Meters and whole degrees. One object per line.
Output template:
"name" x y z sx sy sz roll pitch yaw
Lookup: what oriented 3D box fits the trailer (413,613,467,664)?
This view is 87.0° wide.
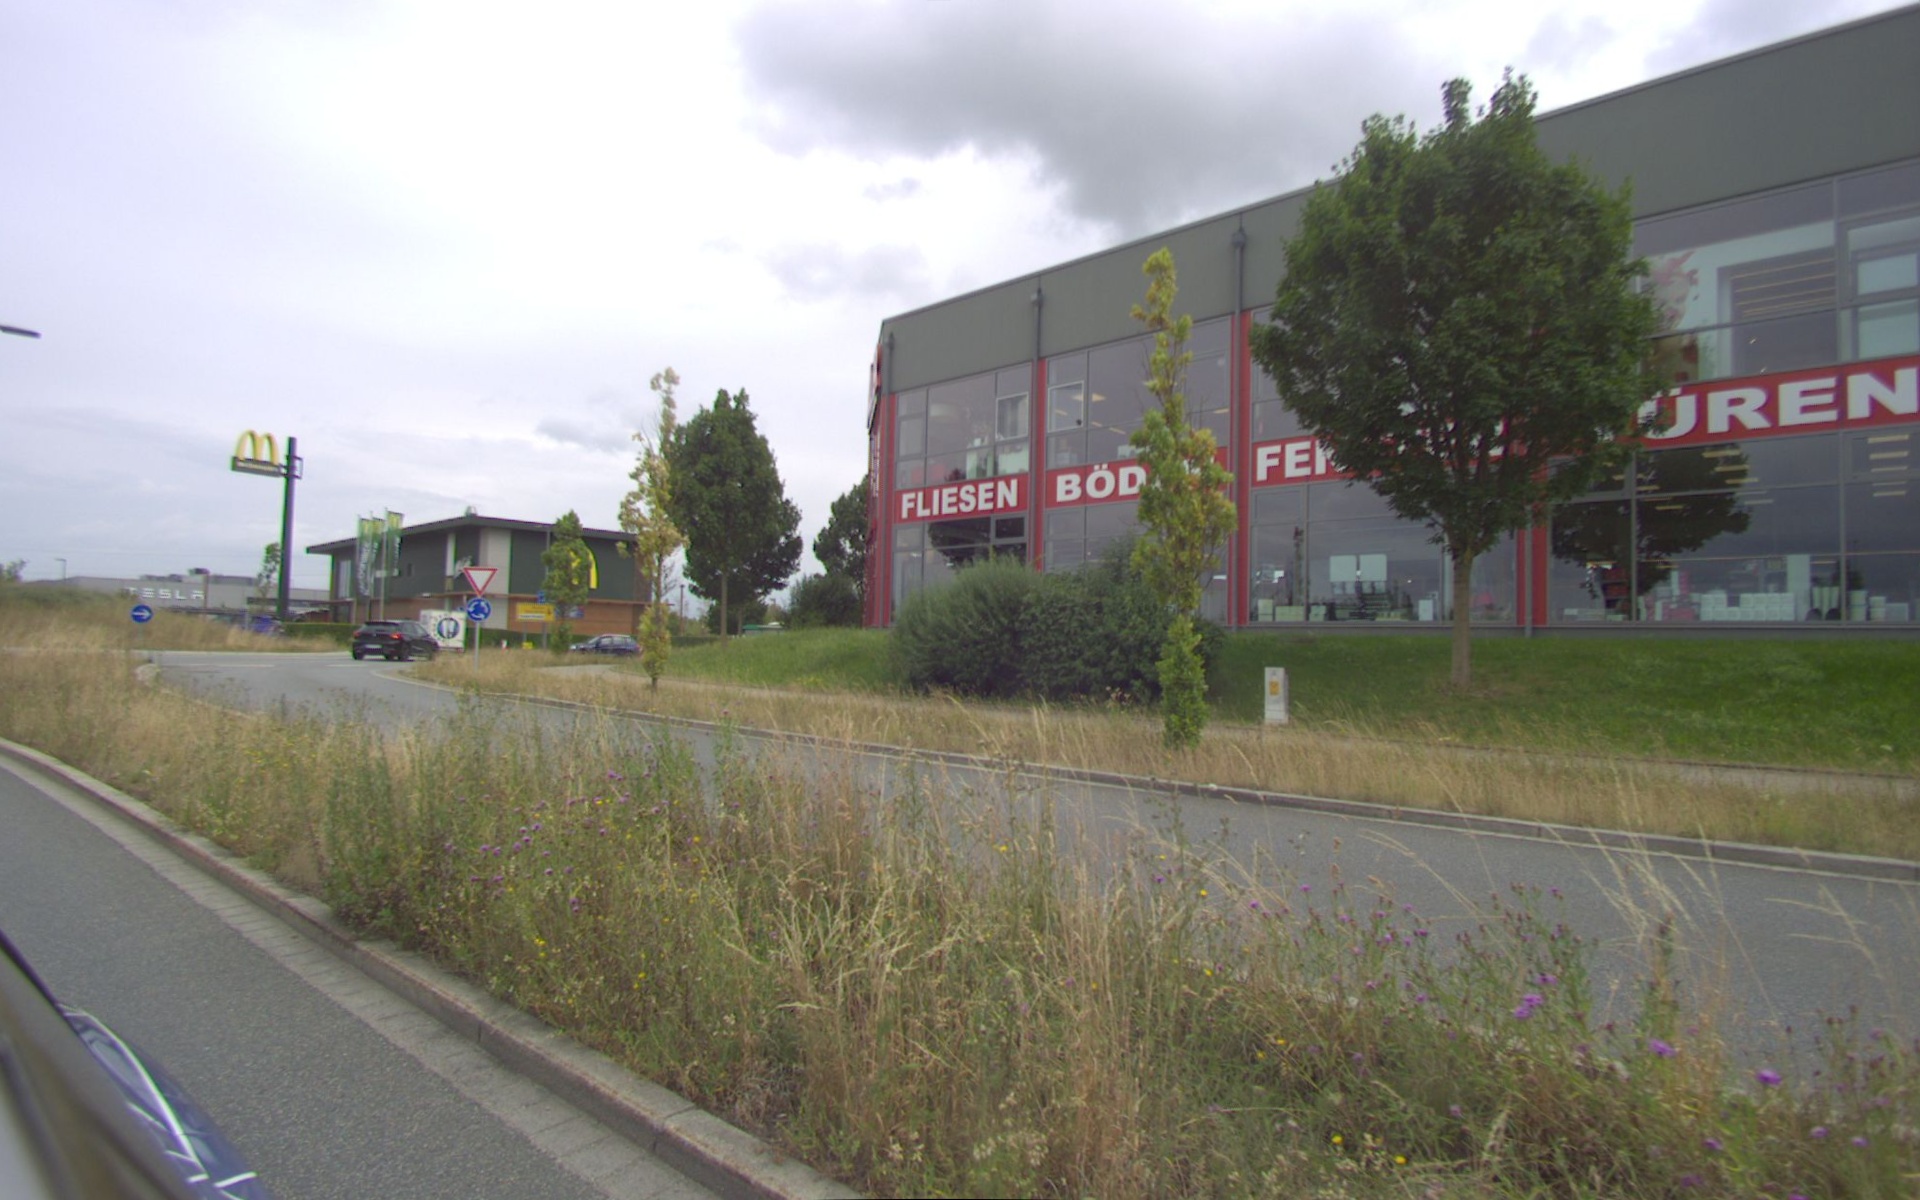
"trailer" -23.488 1.736 45.633 1.781 2.107 4.158 4 -4 -31

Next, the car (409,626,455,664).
"car" -25.555 2.209 49.082 1.785 1.683 4.630 3 -4 -26

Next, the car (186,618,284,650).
"car" -37.706 1.772 52.739 3.750 1.562 1.768 2 -3 -16

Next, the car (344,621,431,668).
"car" -20.477 1.580 36.354 1.618 1.470 3.777 6 -3 -13

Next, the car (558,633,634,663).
"car" -21.492 2.807 59.847 1.888 1.671 3.979 1 -2 29
